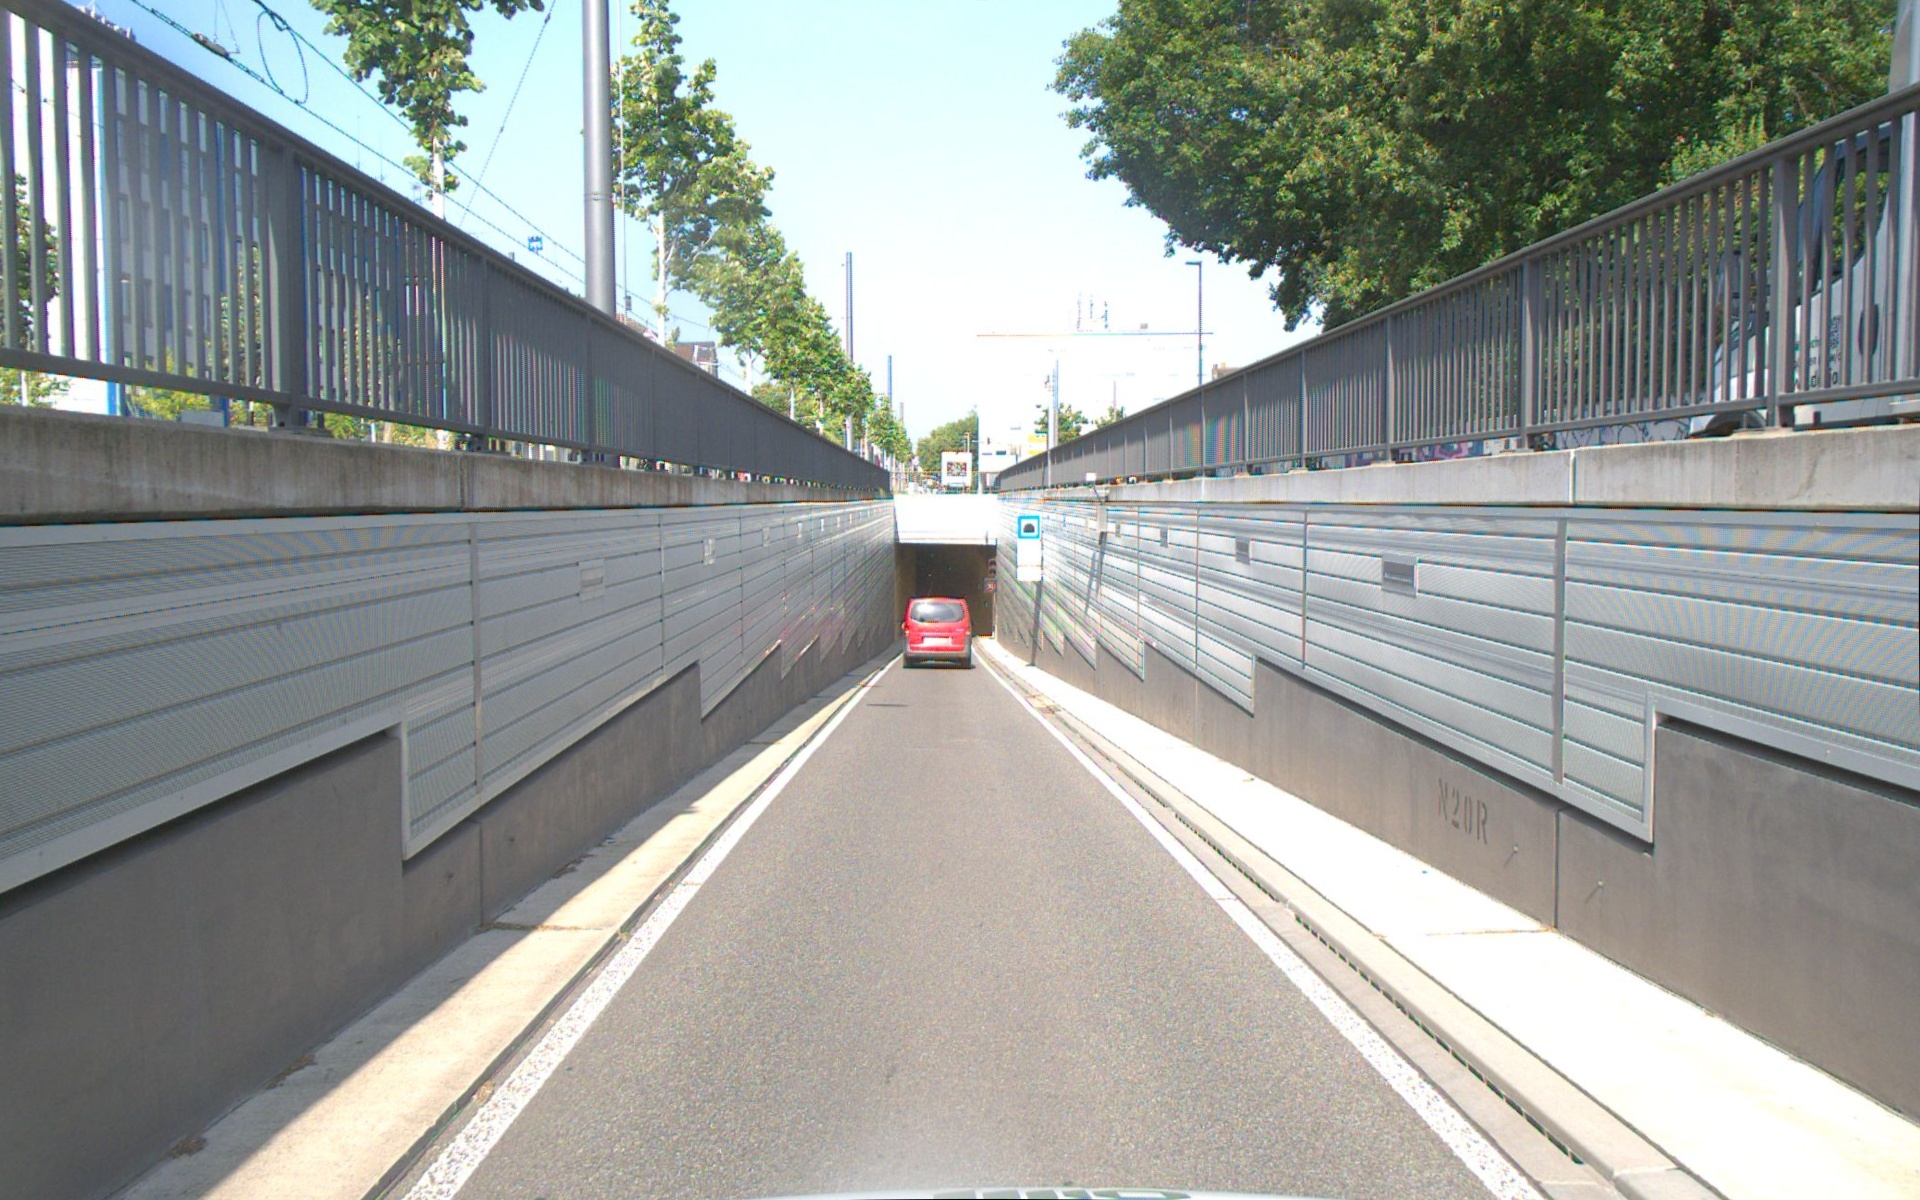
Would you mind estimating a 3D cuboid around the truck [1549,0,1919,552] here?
[{"bbox_3d":[5.045,-1.714,6.612,2.451,3.113,7.822,2,3,0],"label":"truck"}]

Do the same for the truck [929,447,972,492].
[{"bbox_3d":[-0.920,-11.492,146.439,3.323,3.790,10.449,-1,4,-3],"label":"truck"}]

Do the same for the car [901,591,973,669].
[{"bbox_3d":[-0.647,0.775,45.479,1.862,1.891,4.000,1,2,-1],"label":"car"}]
